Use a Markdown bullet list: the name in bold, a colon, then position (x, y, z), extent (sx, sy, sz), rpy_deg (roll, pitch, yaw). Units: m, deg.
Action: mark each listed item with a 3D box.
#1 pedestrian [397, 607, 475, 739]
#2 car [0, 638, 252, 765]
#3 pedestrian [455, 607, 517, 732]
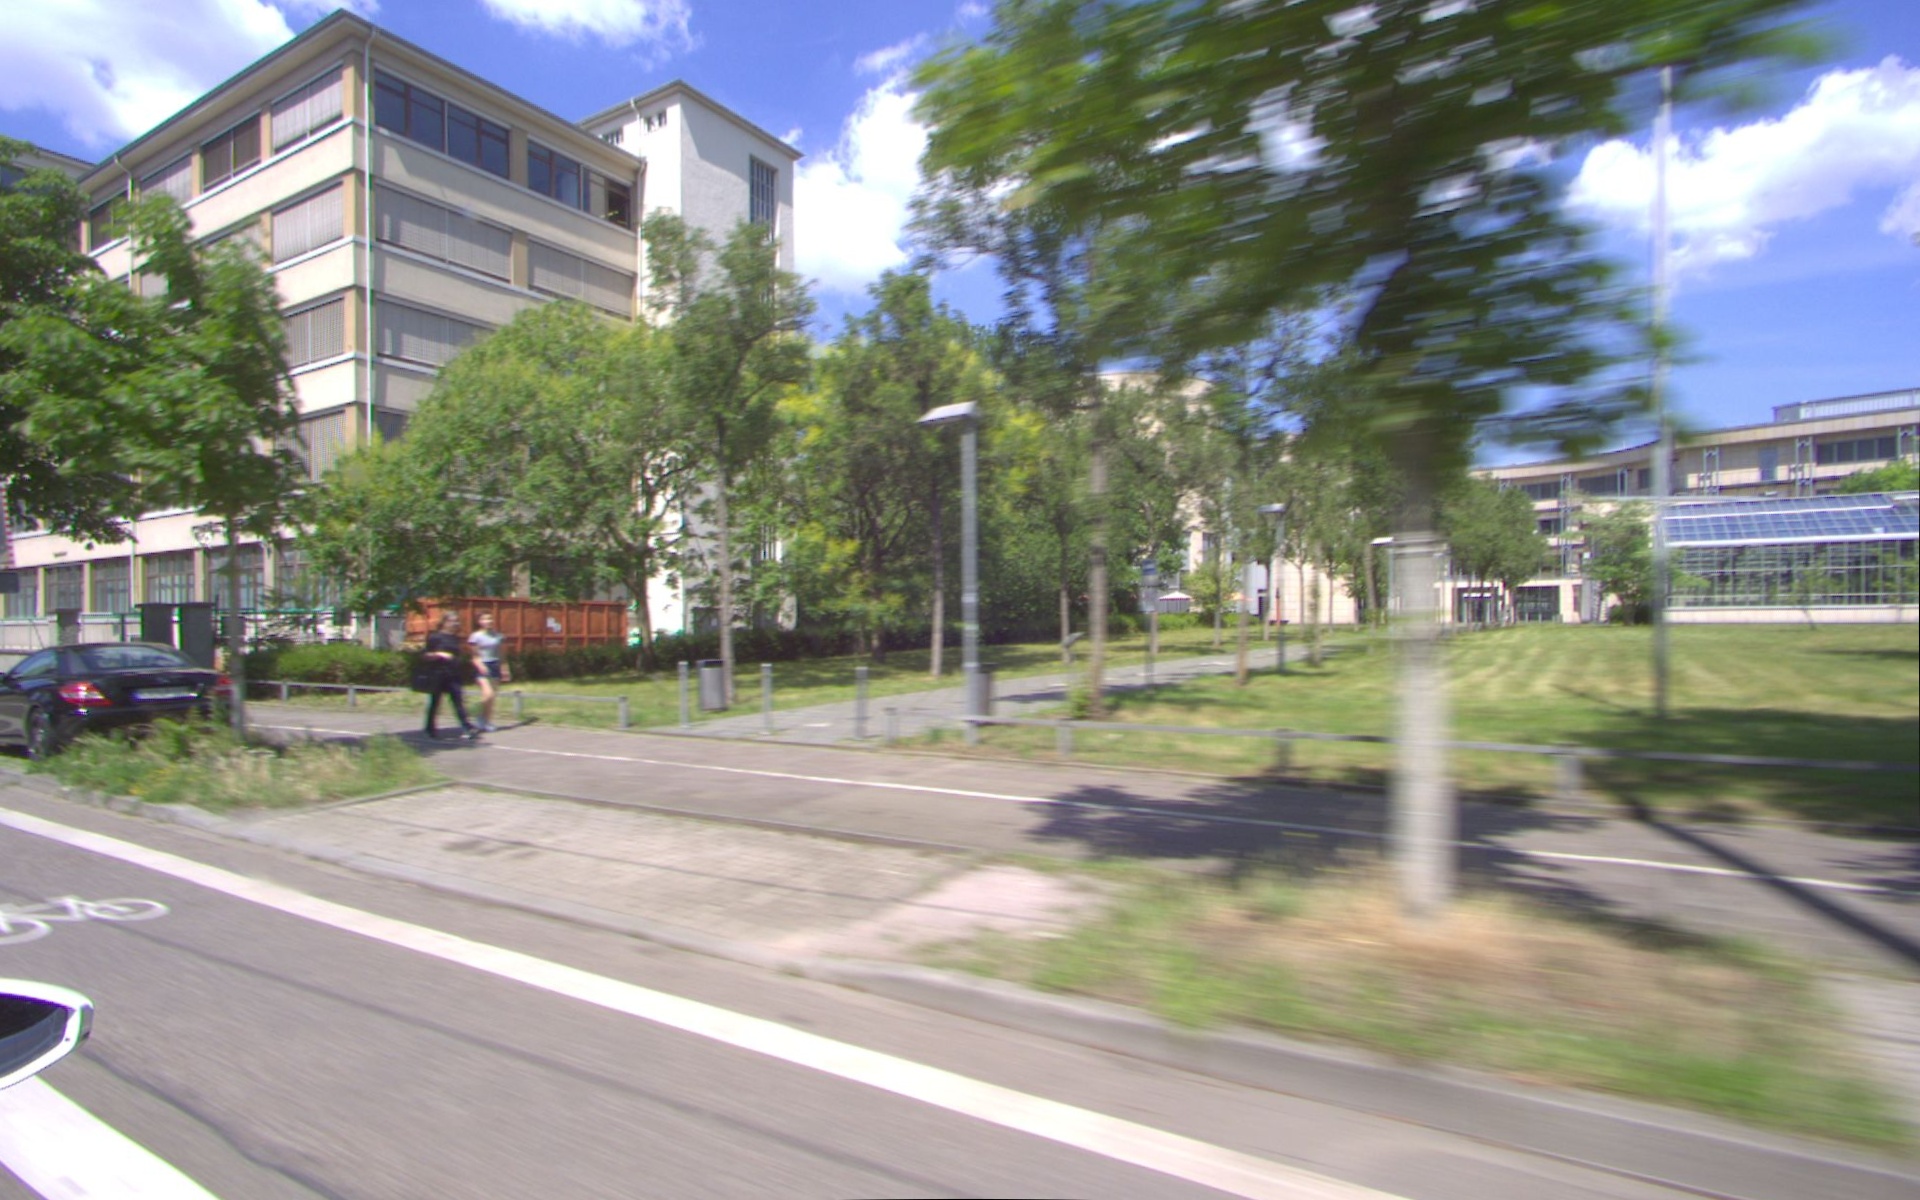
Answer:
- **pedestrian**: position (-6.547, 0.889, 12.522), extent (0.602, 1.594, 0.617), rpy_deg (0, 1, 32)
- **car**: position (-10.402, 1.120, 12.067), extent (3.779, 1.286, 1.749), rpy_deg (-1, -3, 33)
- **pedestrian**: position (-6.258, 0.898, 13.216), extent (0.537, 1.594, 0.511), rpy_deg (0, 1, 32)
